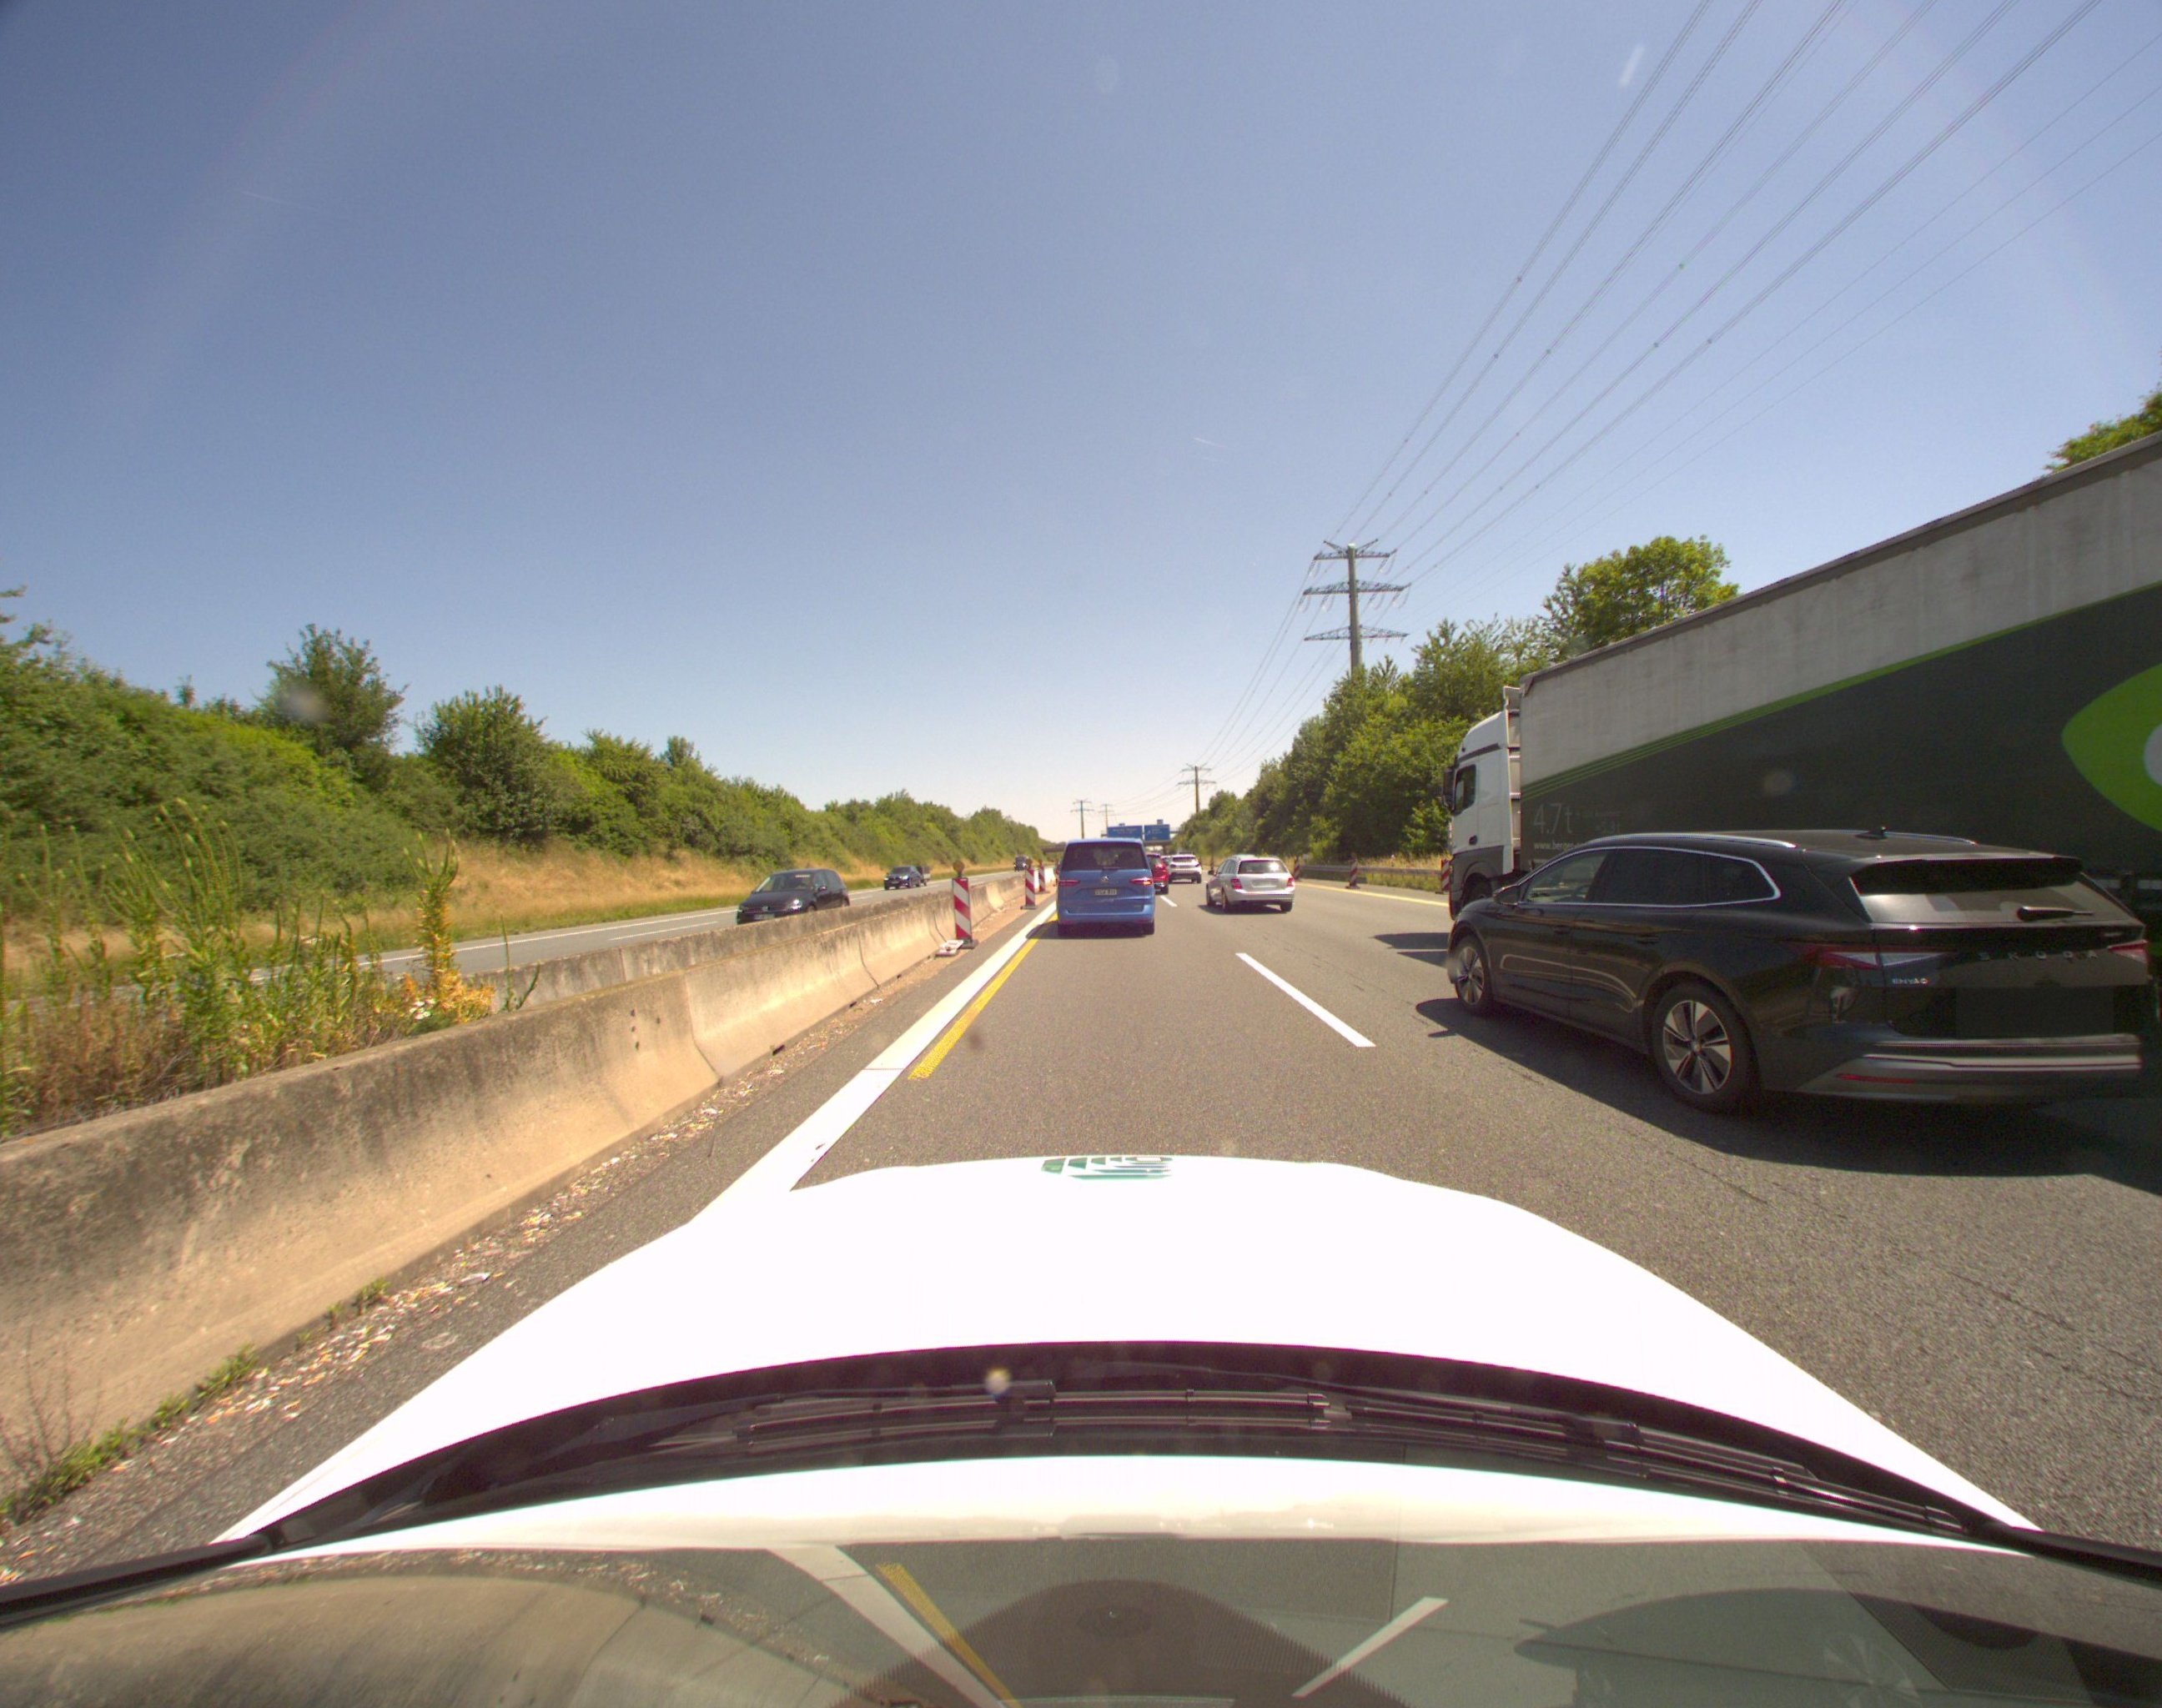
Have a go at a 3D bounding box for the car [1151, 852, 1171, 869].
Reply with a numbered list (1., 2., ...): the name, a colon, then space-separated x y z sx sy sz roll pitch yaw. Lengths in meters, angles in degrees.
1. car: 7.897 0.631 80.653 1.791 1.594 4.228 0 0 2

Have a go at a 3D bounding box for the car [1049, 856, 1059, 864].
1. car: -5.857 1.283 176.669 1.986 1.684 4.154 -4 0 1

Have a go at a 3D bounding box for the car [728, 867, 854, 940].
1. car: -7.495 1.210 21.506 1.767 1.699 4.171 0 0 1

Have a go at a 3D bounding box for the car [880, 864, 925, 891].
1. car: -12.938 1.678 59.401 1.986 1.650 4.632 -4 0 2

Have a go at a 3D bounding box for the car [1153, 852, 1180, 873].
1. car: 6.616 0.652 63.169 1.791 1.594 4.228 0 0 2

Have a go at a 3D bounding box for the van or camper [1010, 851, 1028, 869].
1. van or camper: -10.435 1.035 136.931 2.215 2.710 7.081 -4 -1 1

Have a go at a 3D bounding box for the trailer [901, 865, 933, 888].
1. trailer: -12.770 1.716 63.623 1.563 1.552 3.781 -4 0 2

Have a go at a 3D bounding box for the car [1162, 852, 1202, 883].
1. car: 5.464 0.730 44.338 1.791 1.594 4.228 0 0 2

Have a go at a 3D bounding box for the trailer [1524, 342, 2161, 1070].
1. trailer: 7.410 -0.827 4.849 2.773 4.047 13.117 0 0 2

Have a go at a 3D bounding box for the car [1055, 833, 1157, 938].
1. car: 0.499 0.592 17.094 1.868 1.912 4.360 0 0 1

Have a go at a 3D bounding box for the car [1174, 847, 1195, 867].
1. car: 10.631 0.286 83.637 1.791 2.014 4.229 0 0 2

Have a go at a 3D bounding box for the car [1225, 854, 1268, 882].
1. car: 8.882 0.737 44.017 1.694 1.448 3.789 0 0 2

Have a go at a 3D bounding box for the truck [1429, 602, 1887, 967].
1. truck: 7.647 -0.757 11.957 2.723 4.047 5.796 0 -1 2

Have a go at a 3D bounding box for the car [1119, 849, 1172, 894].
1. car: 2.519 0.683 32.856 1.868 1.671 4.360 0 0 1

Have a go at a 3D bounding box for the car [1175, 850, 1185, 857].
1. car: 24.742 -0.177 203.582 1.868 1.671 4.360 0 0 1

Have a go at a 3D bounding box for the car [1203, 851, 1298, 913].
1. car: 4.502 0.710 22.275 1.764 1.517 4.360 0 0 1

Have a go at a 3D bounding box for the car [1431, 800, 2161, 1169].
1. car: 4.308 0.604 5.897 1.695 1.655 4.430 0 0 1
